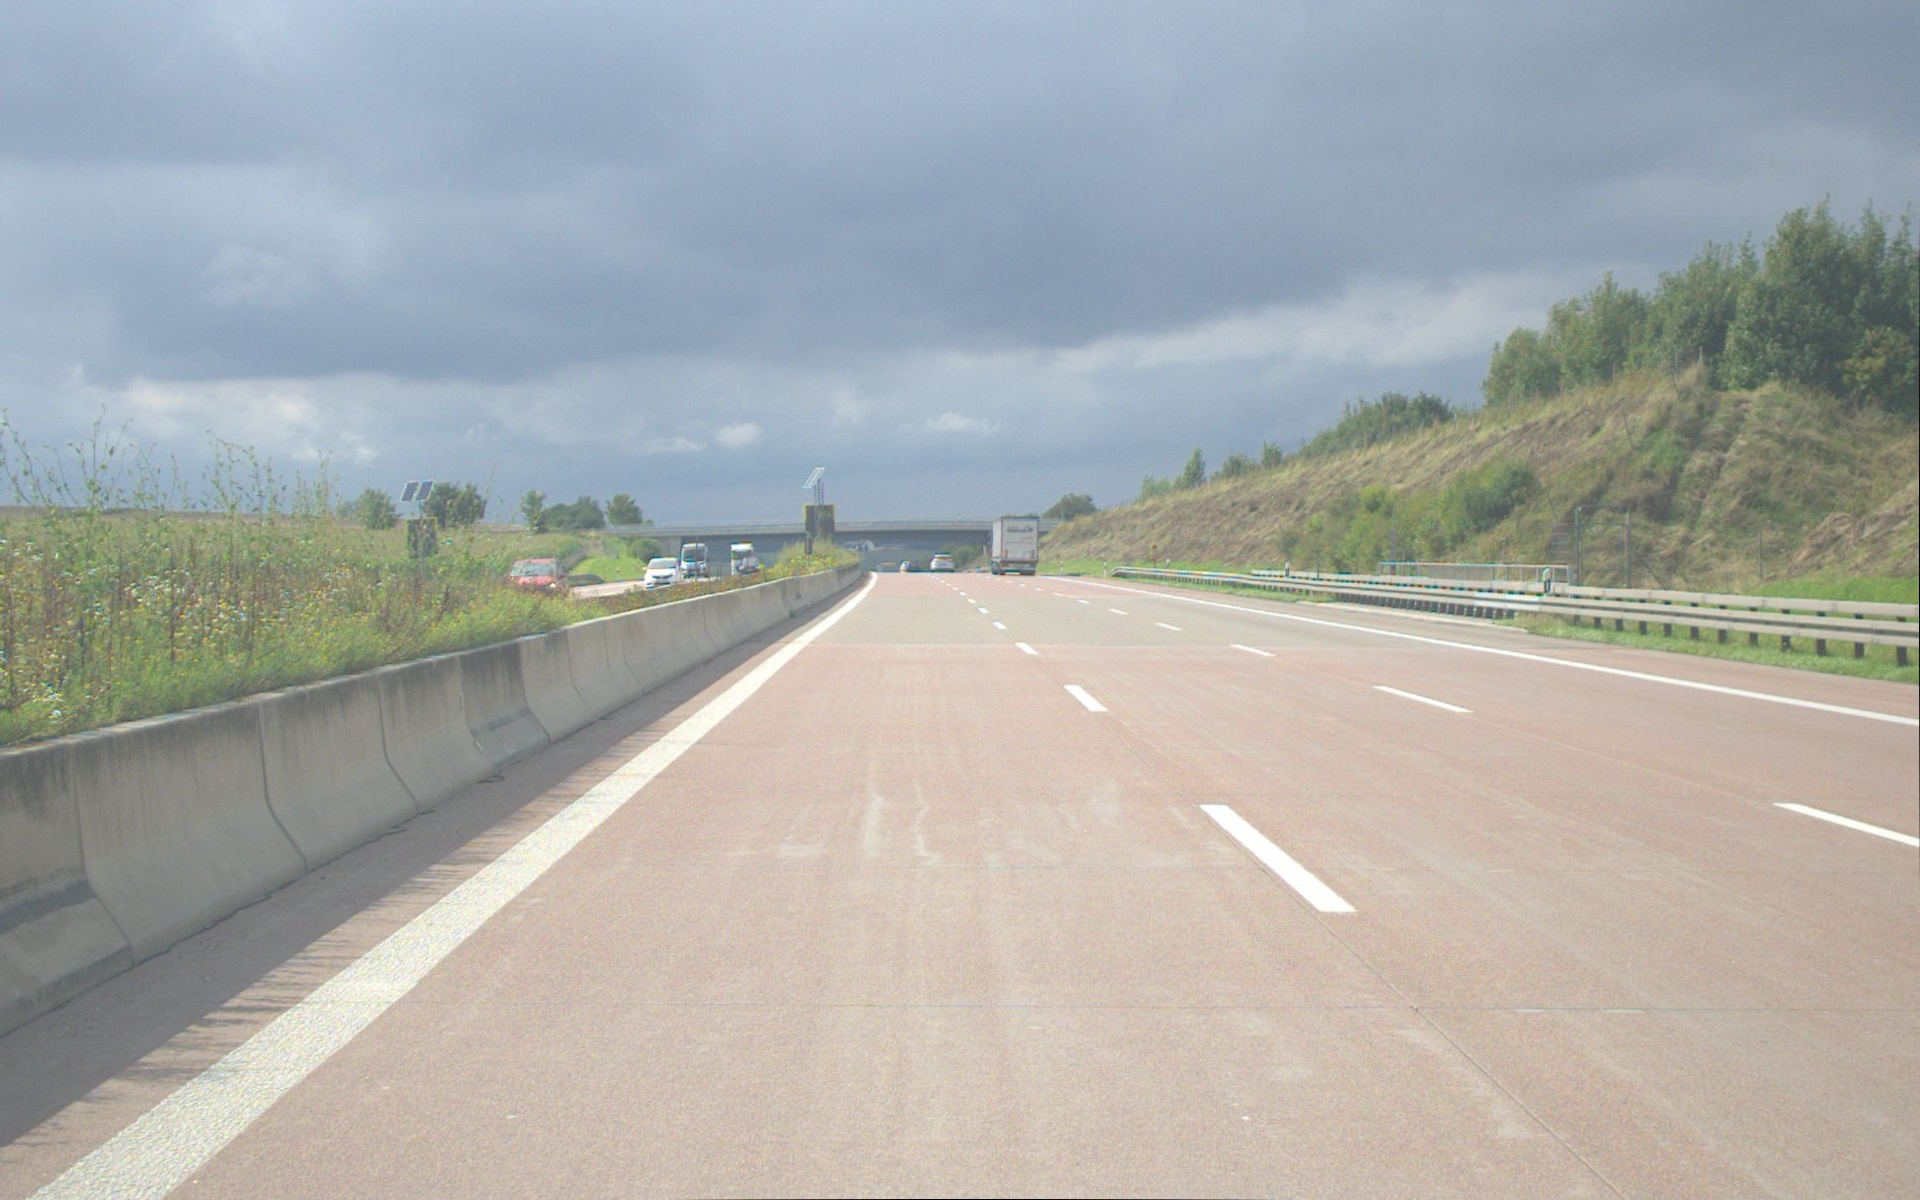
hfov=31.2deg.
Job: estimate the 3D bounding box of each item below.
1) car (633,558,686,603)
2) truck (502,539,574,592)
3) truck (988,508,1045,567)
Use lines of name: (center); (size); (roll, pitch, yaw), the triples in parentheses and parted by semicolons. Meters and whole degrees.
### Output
car: (-14.387, -0.956, 164.753); (1.993, 2.063, 4.711); (-1, 1, 1)
truck: (-13.519, -1.129, 110.294); (1.707, 1.568, 4.982); (-2, 1, -1)
truck: (3.869, -4.370, 238.628); (3.617, 3.932, 11.174); (2, 1, 0)
